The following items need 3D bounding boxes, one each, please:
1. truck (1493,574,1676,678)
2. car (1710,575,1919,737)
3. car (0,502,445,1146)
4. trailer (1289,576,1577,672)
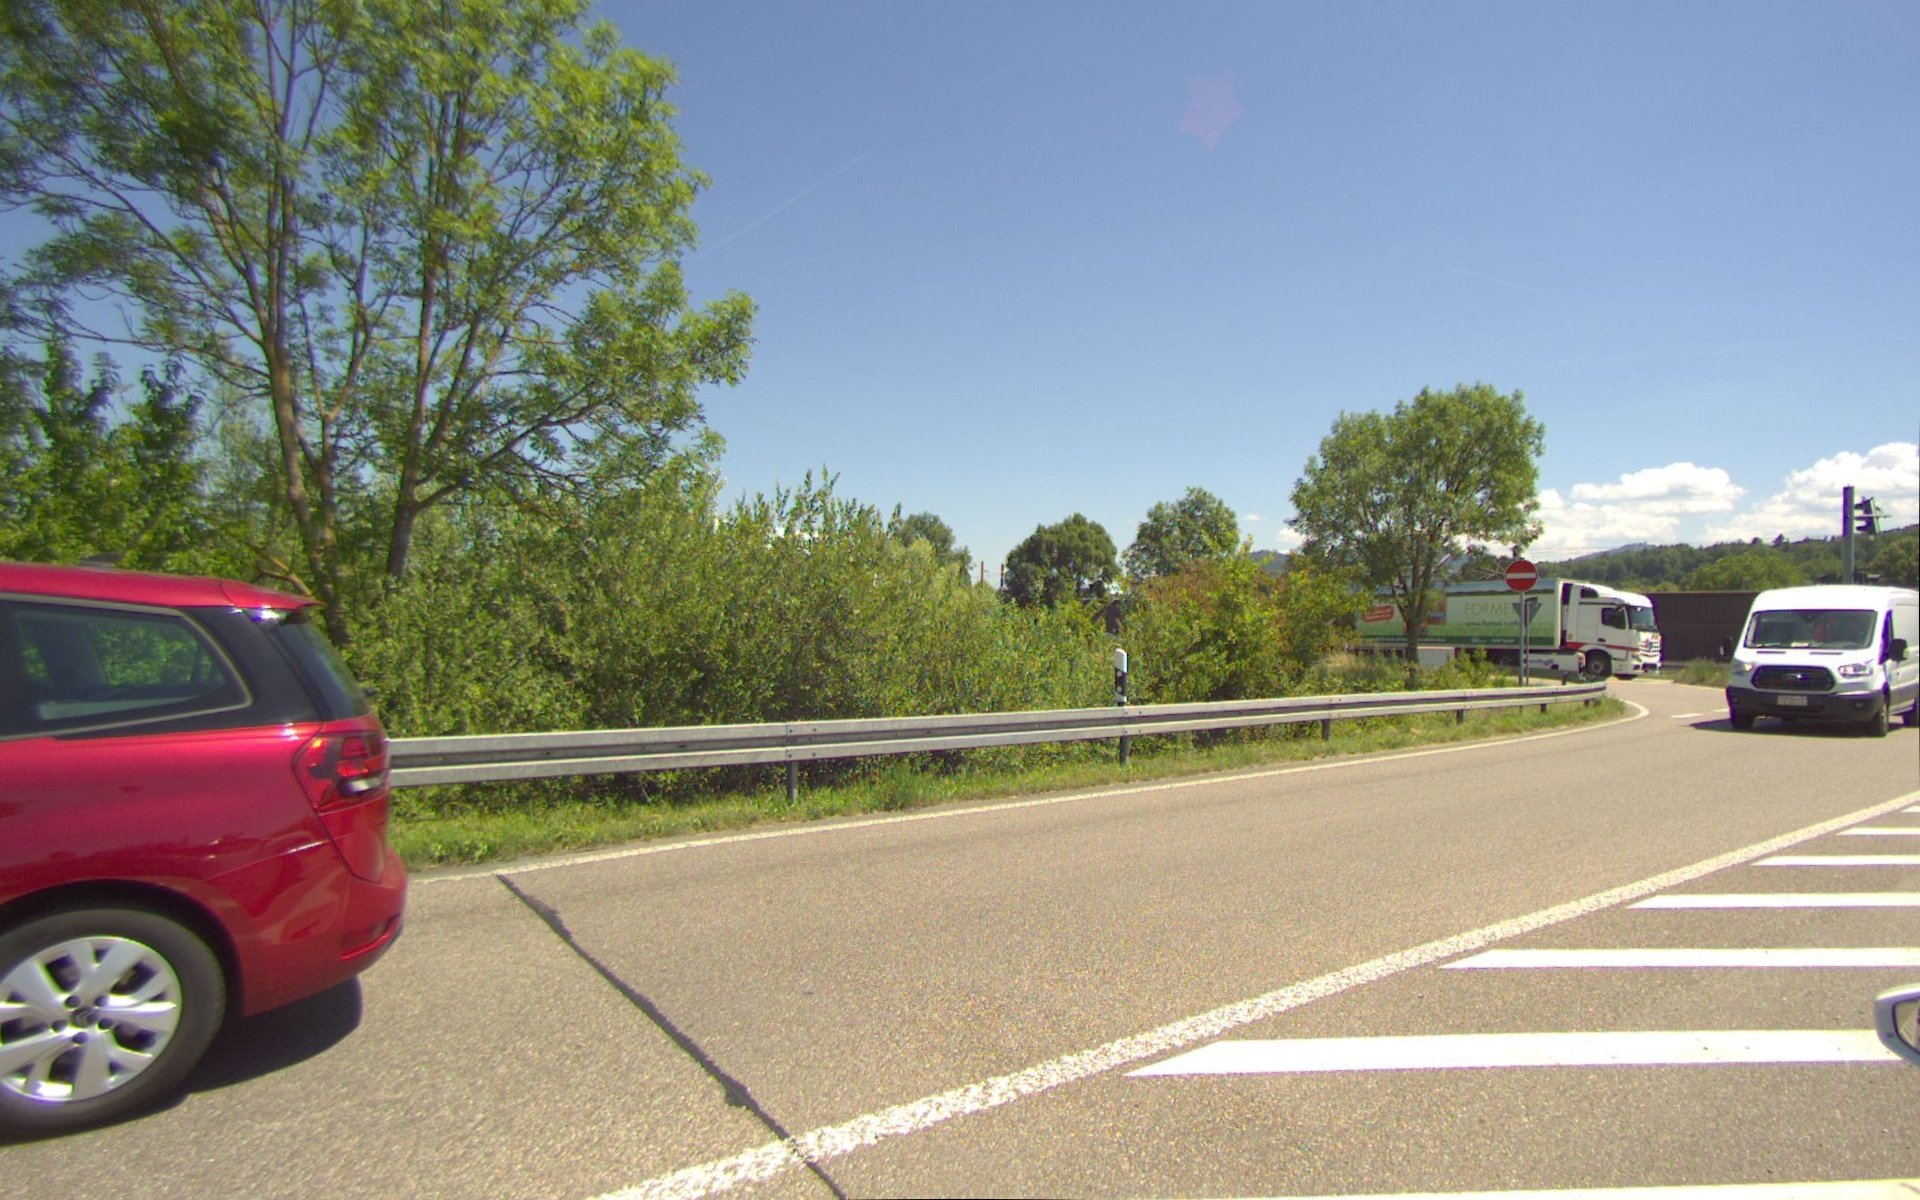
[{"bbox_3d":[25.941,1.046,41.962,3.027,4.007,5.736,2,-1,-31],"label":"truck"},{"bbox_3d":[15.304,0.955,17.709,5.541,2.448,1.978,2,-3,-39],"label":"car"},{"bbox_3d":[-3.888,0.585,2.796,4.167,1.708,1.725,2,-3,-35],"label":"car"},{"bbox_3d":[22.114,1.053,48.422,3.027,4.007,13.074,2,-1,-31],"label":"trailer"}]
